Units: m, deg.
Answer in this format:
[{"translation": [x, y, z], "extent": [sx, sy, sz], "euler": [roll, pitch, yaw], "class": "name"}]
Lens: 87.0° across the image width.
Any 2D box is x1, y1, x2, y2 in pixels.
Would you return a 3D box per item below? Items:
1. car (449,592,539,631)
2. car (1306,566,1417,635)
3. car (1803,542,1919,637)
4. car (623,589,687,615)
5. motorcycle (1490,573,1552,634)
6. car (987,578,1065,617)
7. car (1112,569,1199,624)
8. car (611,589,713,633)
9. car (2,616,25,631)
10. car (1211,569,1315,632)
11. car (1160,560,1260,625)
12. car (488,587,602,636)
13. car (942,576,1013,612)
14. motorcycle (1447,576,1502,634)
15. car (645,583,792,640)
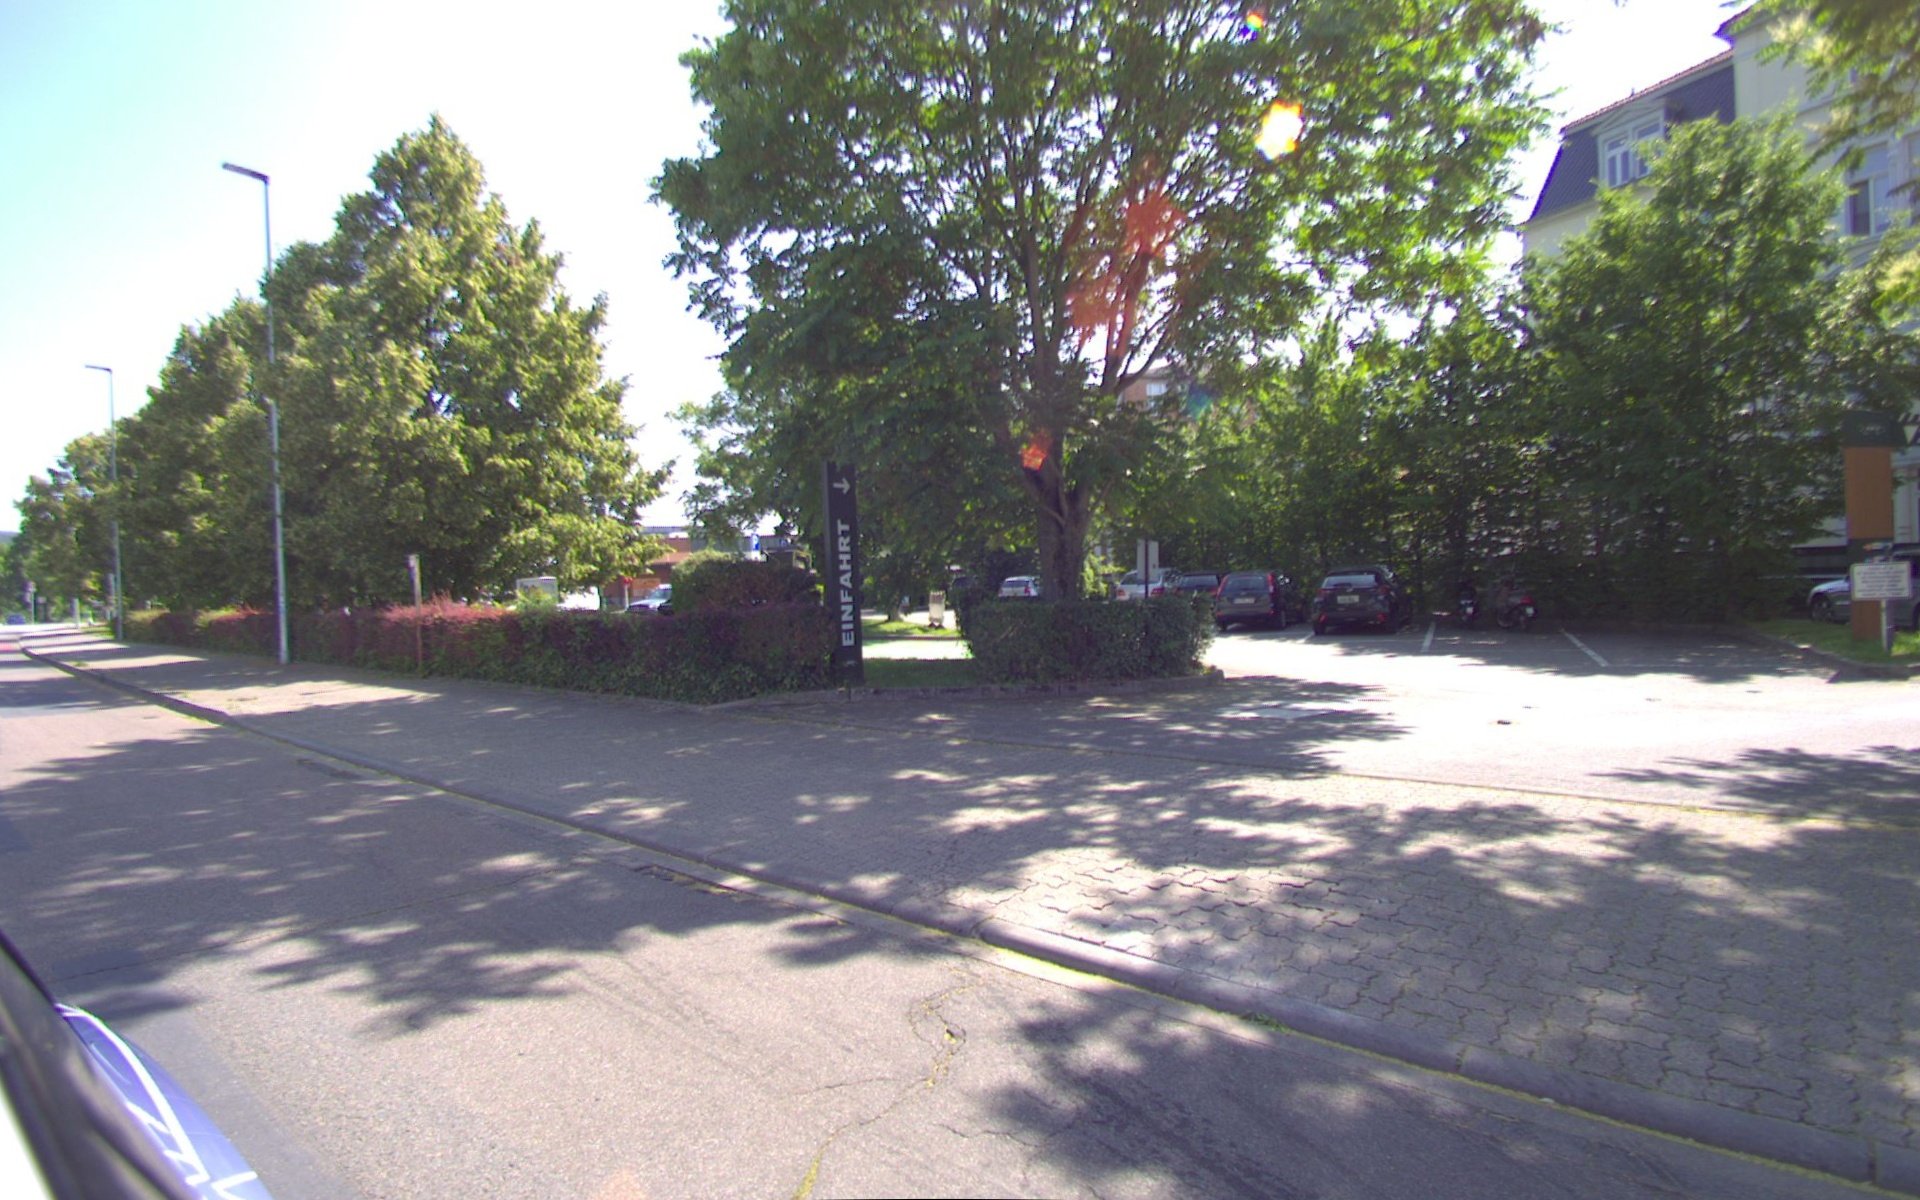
[{"translation": [-23.974, 0.593, 52.057], "extent": [4.199, 1.812, 1.747], "euler": [-2, 1, 22], "class": "car"}, {"translation": [9.324, -0.035, 23.310], "extent": [1.763, 1.398, 4.054], "euler": [-2, 2, 30], "class": "car"}, {"translation": [15.778, -0.212, 16.169], "extent": [1.697, 1.414, 4.368], "euler": [-4, 1, 13], "class": "car"}, {"translation": [-20.456, 0.112, 67.922], "extent": [3.934, 1.606, 1.932], "euler": [-2, 1, -12], "class": "car"}, {"translation": [11.386, 0.042, 20.602], "extent": [0.564, 1.140, 2.173], "euler": [-2, 2, 15], "class": "motorcycle"}, {"translation": [2.868, -0.135, 43.155], "extent": [1.787, 1.461, 4.008], "euler": [-2, 2, 29], "class": "car"}, {"translation": [6.387, -0.161, 32.848], "extent": [1.636, 1.599, 3.812], "euler": [-2, 2, 29], "class": "car"}, {"translation": [-12.110, 0.426, 41.355], "extent": [1.896, 1.595, 3.777], "euler": [-2, 2, 27], "class": "car"}, {"translation": [-101.564, 2.472, 108.590], "extent": [3.684, 1.547, 1.588], "euler": [-1, 1, 44], "class": "car"}, {"translation": [7.821, -0.023, 25.876], "extent": [1.621, 1.405, 4.030], "euler": [-2, 2, 30], "class": "car"}, {"translation": [7.463, -0.257, 29.919], "extent": [1.795, 1.745, 3.983], "euler": [-2, 2, 30], "class": "car"}, {"translation": [-17.264, 0.443, 42.328], "extent": [1.739, 1.841, 4.317], "euler": [-2, 0, 25], "class": "car"}, {"translation": [0.921, -0.323, 50.042], "extent": [1.813, 1.588, 3.829], "euler": [-1, 2, 31], "class": "car"}, {"translation": [10.826, 0.074, 21.357], "extent": [0.564, 1.124, 2.173], "euler": [-2, 2, 15], "class": "motorcycle"}, {"translation": [-7.519, 0.332, 31.245], "extent": [5.032, 1.572, 2.045], "euler": [-1, 1, 45], "class": "car"}]
